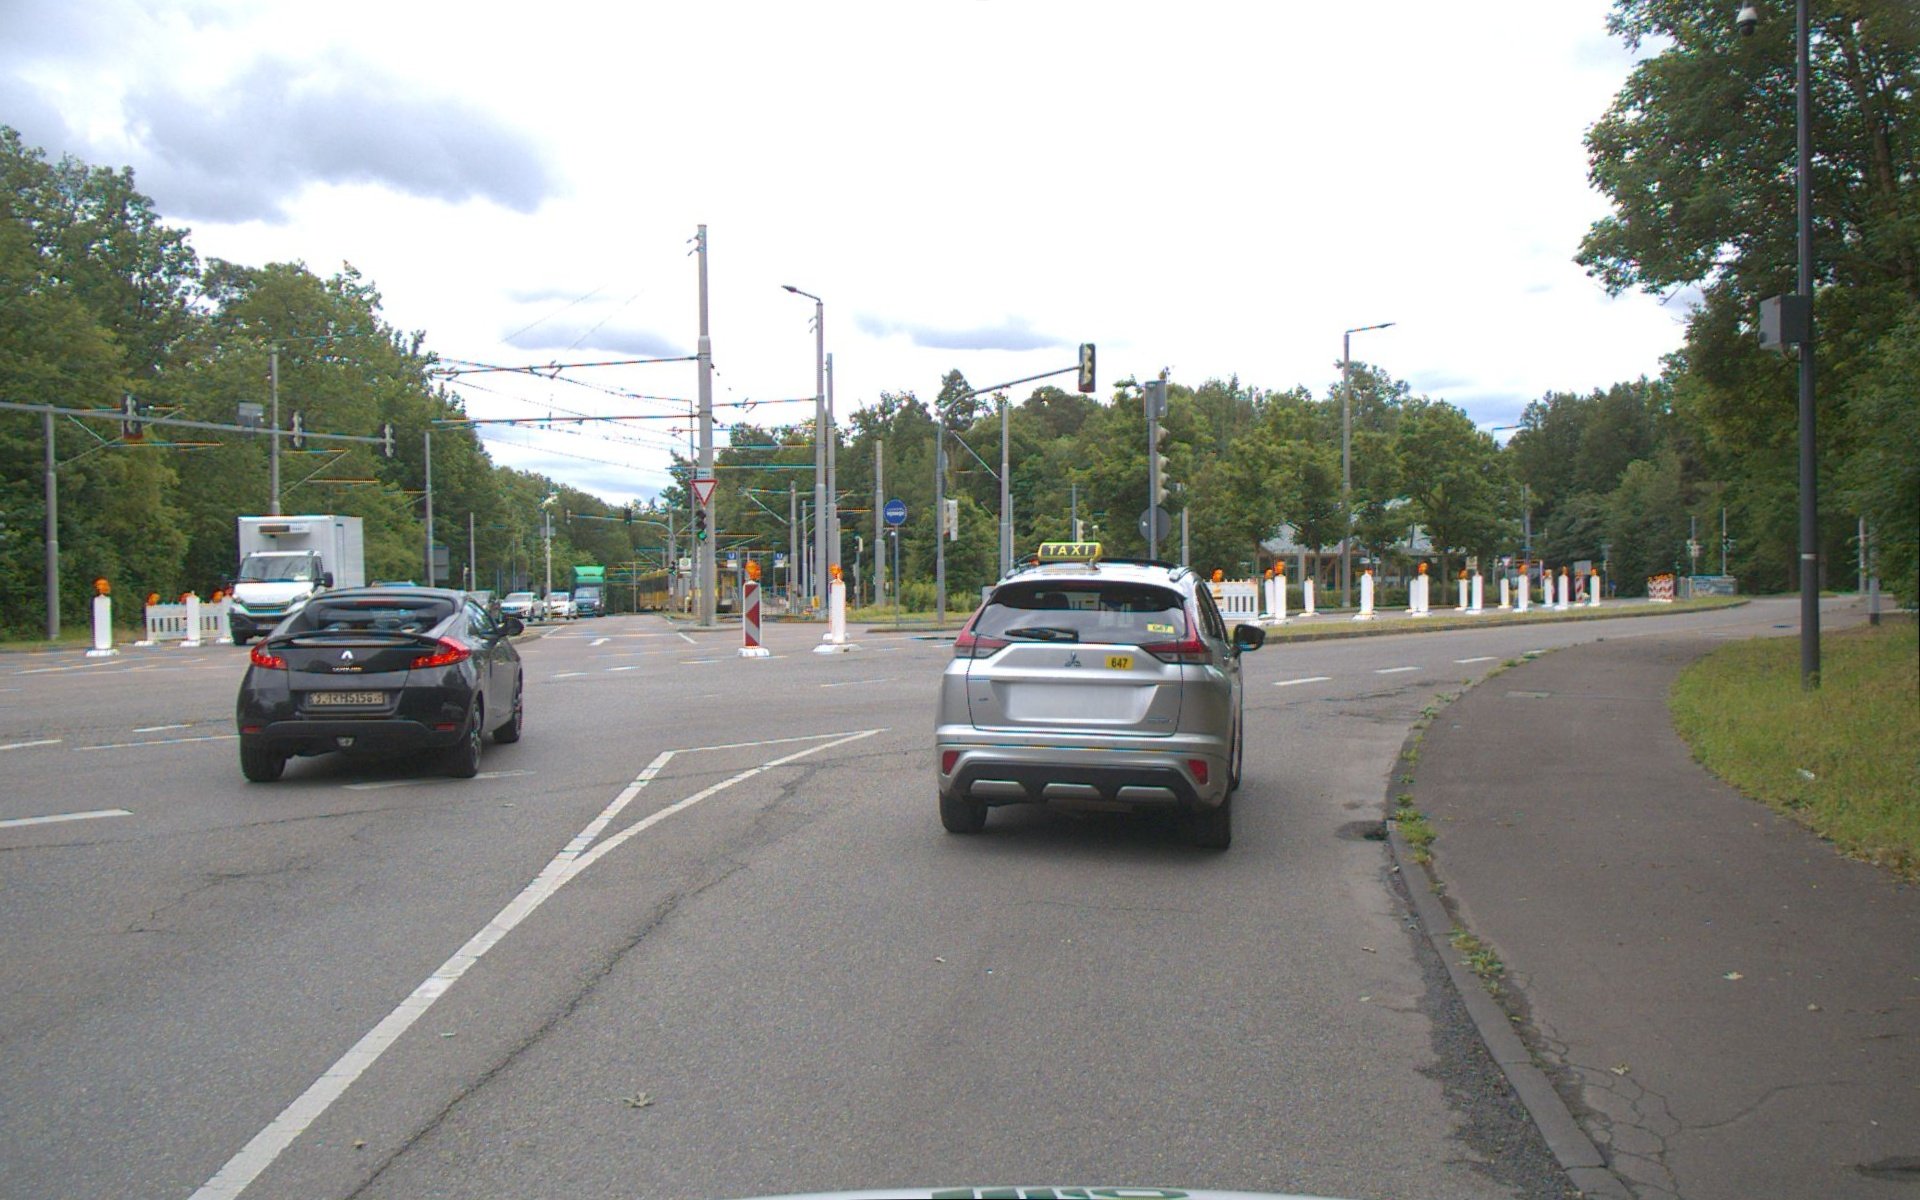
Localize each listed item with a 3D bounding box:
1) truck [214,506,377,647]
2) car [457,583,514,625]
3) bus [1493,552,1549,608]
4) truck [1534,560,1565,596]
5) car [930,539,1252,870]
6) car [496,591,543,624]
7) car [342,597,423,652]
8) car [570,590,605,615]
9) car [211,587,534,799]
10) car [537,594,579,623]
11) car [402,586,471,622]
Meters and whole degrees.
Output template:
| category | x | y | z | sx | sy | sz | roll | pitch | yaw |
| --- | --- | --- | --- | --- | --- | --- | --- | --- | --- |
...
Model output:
| category | x | y | z | sx | sy | sz | roll | pitch | yaw |
| --- | --- | --- | --- | --- | --- | --- | --- | --- | --- |
| truck | -17.087 | -0.571 | 42.987 | 2.404 | 3.280 | 7.138 | -2 | 0 | -10 |
| car | -22.250 | 0.146 | 77.765 | 1.925 | 1.877 | 4.681 | -1 | 1 | -8 |
| bus | 39.573 | -1.440 | 116.991 | 2.761 | 3.666 | 12.814 | -1 | 1 | 15 |
| truck | 57.288 | -2.112 | 160.813 | 2.431 | 3.344 | 8.524 | -1 | 0 | 18 |
| car | 1.033 | 0.552 | 10.922 | 1.736 | 1.778 | 3.784 | 1 | 0 | 10 |
| car | -23.358 | 0.370 | 87.844 | 1.925 | 1.635 | 4.302 | -1 | 1 | -8 |
| car | -20.156 | 0.816 | 57.913 | 1.926 | 1.780 | 4.834 | -1 | 1 | -10 |
| car | -24.370 | 0.153 | 108.300 | 1.925 | 1.567 | 4.302 | -1 | 1 | -8 |
| car | -4.489 | 0.633 | 13.156 | 1.741 | 1.385 | 3.469 | -2 | 0 | -9 |
| car | -22.944 | 0.448 | 94.521 | 1.925 | 1.568 | 4.388 | -1 | 1 | -8 |
| car | -21.391 | 0.139 | 67.733 | 1.925 | 1.385 | 4.681 | -1 | 1 | -8 |
